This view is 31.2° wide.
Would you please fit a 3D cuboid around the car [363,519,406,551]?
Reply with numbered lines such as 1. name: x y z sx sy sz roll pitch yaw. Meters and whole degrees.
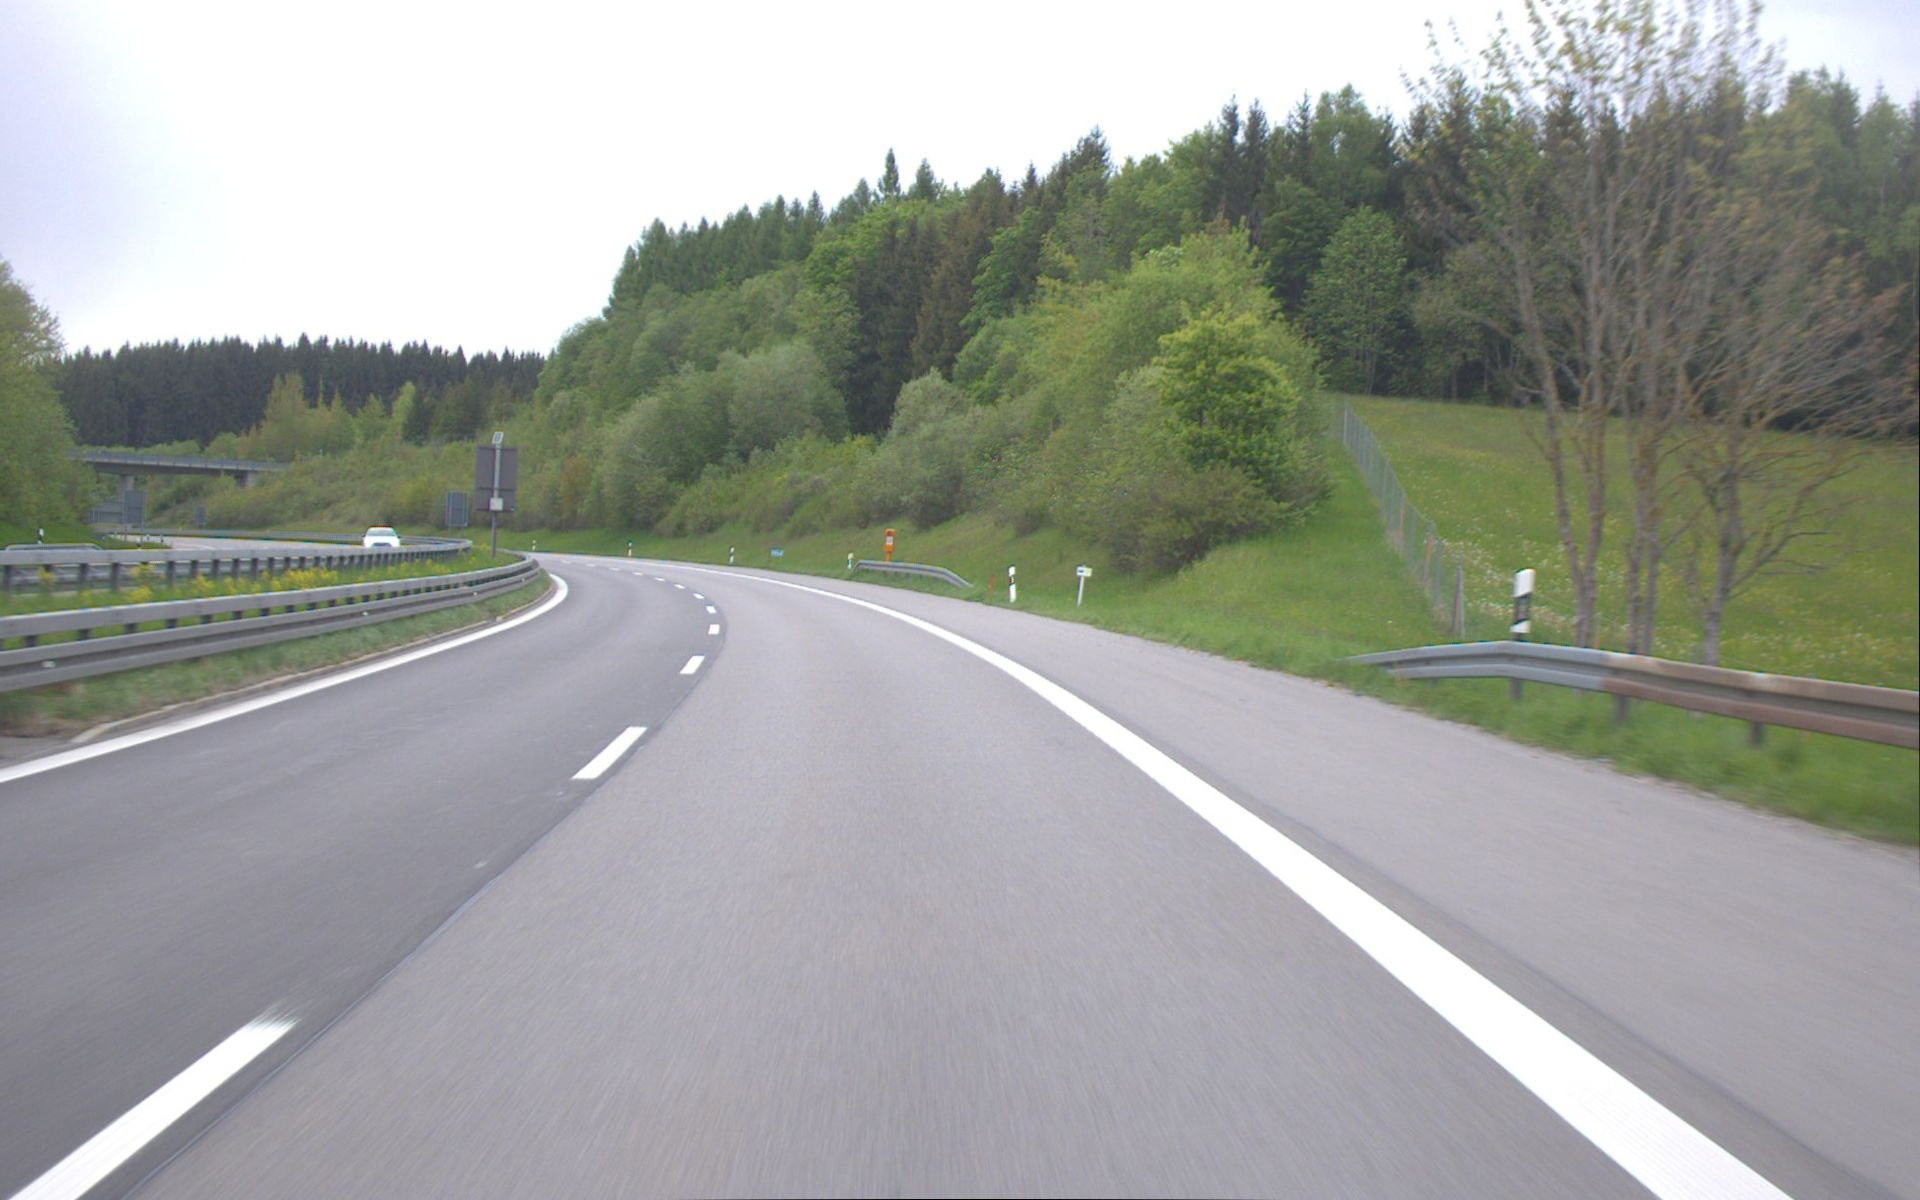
1. car: -29.577 -3.359 176.850 1.993 1.424 4.464 3 1 -8
